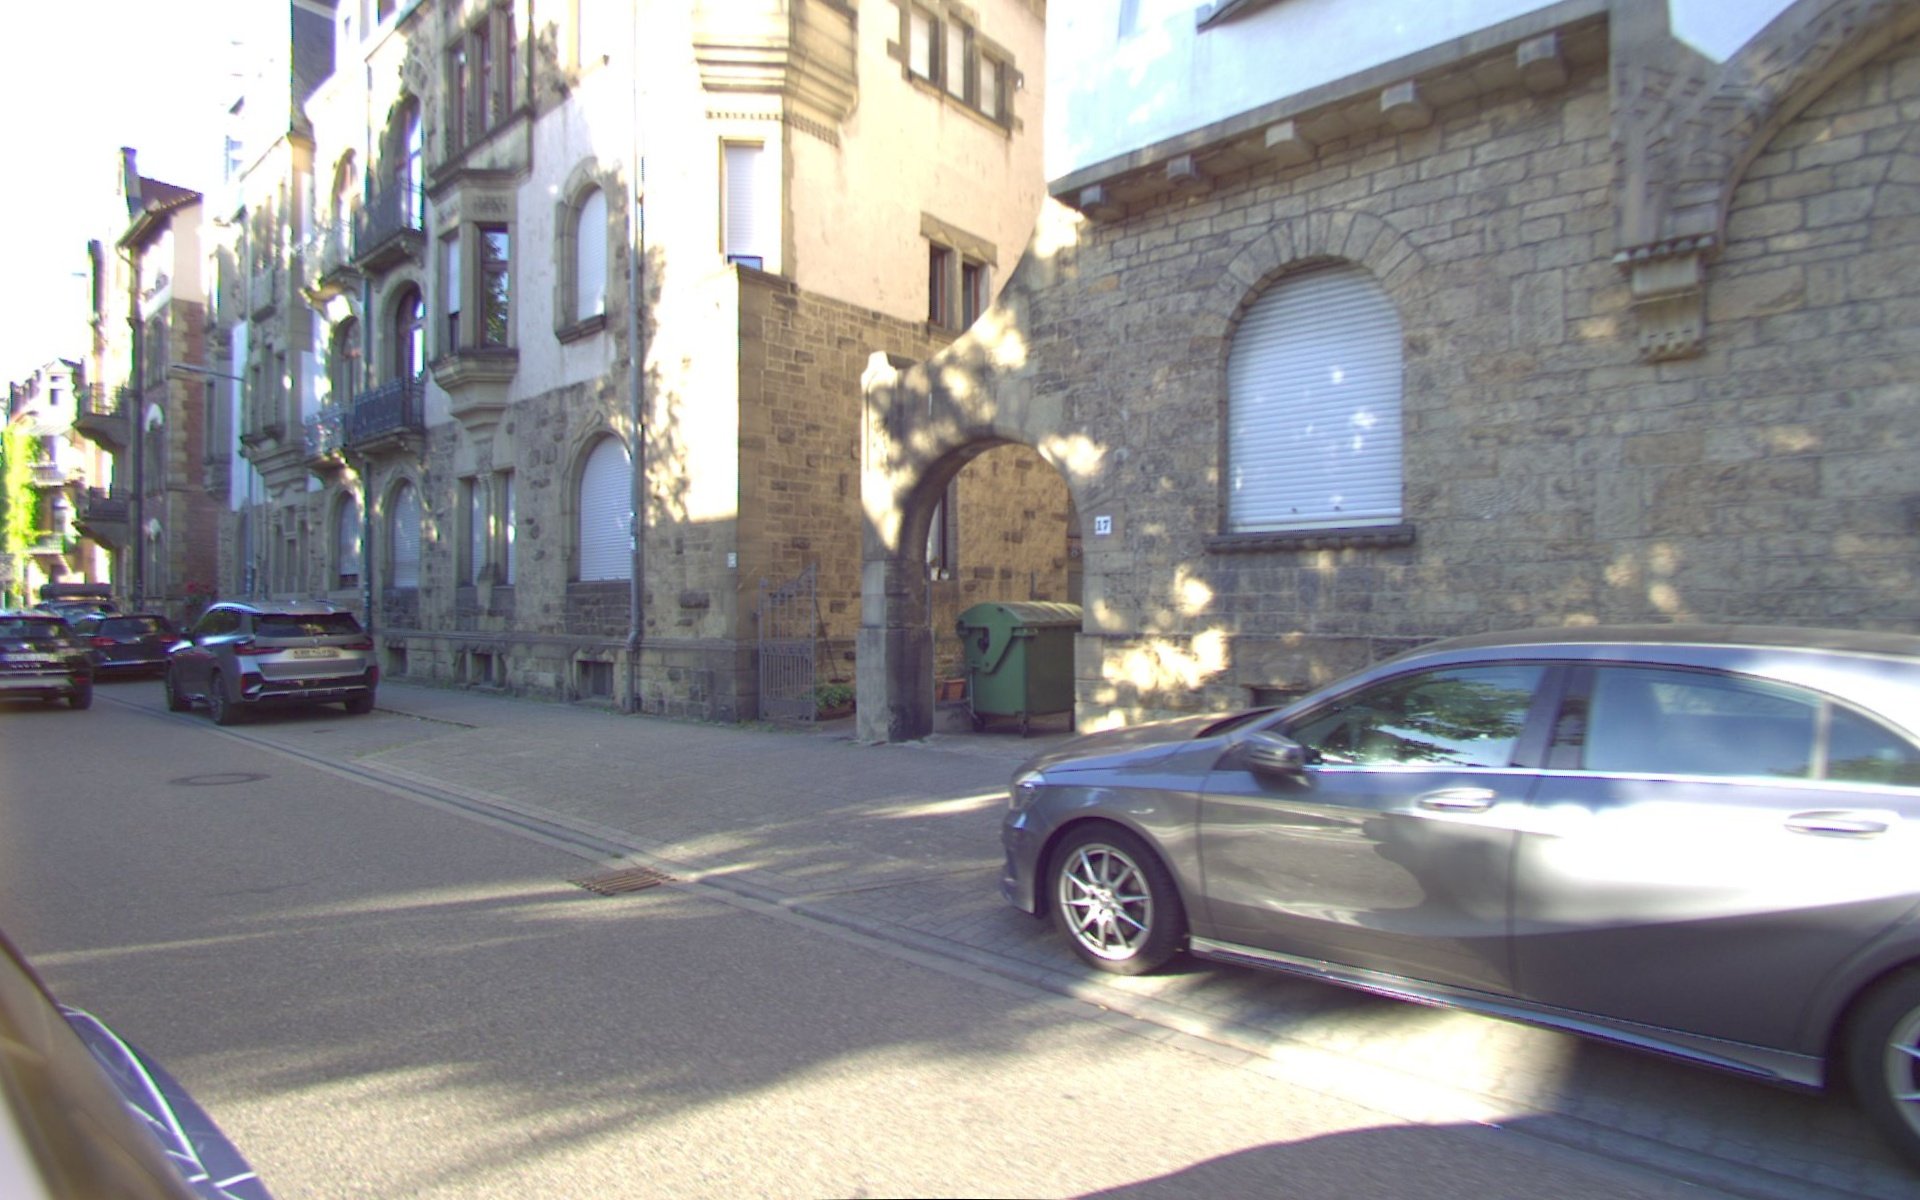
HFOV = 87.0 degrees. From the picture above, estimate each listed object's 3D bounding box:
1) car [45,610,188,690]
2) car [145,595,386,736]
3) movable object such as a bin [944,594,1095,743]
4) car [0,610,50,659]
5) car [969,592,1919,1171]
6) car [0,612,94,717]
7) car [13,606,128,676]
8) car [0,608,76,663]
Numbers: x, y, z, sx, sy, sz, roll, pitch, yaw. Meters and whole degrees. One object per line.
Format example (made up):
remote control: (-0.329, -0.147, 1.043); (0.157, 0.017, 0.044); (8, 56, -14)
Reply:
car: (-18.708, 1.031, 22.386); (4.210, 1.512, 1.751); (1, 0, 41)
car: (-10.093, 0.828, 14.580); (4.337, 1.730, 1.856); (-1, 0, 41)
movable object such as a bin: (0.658, 0.689, 11.057); (1.173, 1.489, 1.181); (0, 1, 41)
car: (-32.214, 1.196, 34.284); (3.854, 1.516, 1.612); (-3, 1, 42)
car: (2.148, 0.728, 3.888); (4.108, 1.453, 1.660); (-1, 0, 40)
car: (-14.945, 0.946, 15.703); (3.756, 1.489, 1.611); (-1, -3, 39)
car: (-23.713, 1.019, 26.924); (4.210, 1.680, 1.751); (0, 0, 41)
car: (-27.962, 1.063, 30.410); (3.854, 1.458, 1.612); (-3, 1, 42)
